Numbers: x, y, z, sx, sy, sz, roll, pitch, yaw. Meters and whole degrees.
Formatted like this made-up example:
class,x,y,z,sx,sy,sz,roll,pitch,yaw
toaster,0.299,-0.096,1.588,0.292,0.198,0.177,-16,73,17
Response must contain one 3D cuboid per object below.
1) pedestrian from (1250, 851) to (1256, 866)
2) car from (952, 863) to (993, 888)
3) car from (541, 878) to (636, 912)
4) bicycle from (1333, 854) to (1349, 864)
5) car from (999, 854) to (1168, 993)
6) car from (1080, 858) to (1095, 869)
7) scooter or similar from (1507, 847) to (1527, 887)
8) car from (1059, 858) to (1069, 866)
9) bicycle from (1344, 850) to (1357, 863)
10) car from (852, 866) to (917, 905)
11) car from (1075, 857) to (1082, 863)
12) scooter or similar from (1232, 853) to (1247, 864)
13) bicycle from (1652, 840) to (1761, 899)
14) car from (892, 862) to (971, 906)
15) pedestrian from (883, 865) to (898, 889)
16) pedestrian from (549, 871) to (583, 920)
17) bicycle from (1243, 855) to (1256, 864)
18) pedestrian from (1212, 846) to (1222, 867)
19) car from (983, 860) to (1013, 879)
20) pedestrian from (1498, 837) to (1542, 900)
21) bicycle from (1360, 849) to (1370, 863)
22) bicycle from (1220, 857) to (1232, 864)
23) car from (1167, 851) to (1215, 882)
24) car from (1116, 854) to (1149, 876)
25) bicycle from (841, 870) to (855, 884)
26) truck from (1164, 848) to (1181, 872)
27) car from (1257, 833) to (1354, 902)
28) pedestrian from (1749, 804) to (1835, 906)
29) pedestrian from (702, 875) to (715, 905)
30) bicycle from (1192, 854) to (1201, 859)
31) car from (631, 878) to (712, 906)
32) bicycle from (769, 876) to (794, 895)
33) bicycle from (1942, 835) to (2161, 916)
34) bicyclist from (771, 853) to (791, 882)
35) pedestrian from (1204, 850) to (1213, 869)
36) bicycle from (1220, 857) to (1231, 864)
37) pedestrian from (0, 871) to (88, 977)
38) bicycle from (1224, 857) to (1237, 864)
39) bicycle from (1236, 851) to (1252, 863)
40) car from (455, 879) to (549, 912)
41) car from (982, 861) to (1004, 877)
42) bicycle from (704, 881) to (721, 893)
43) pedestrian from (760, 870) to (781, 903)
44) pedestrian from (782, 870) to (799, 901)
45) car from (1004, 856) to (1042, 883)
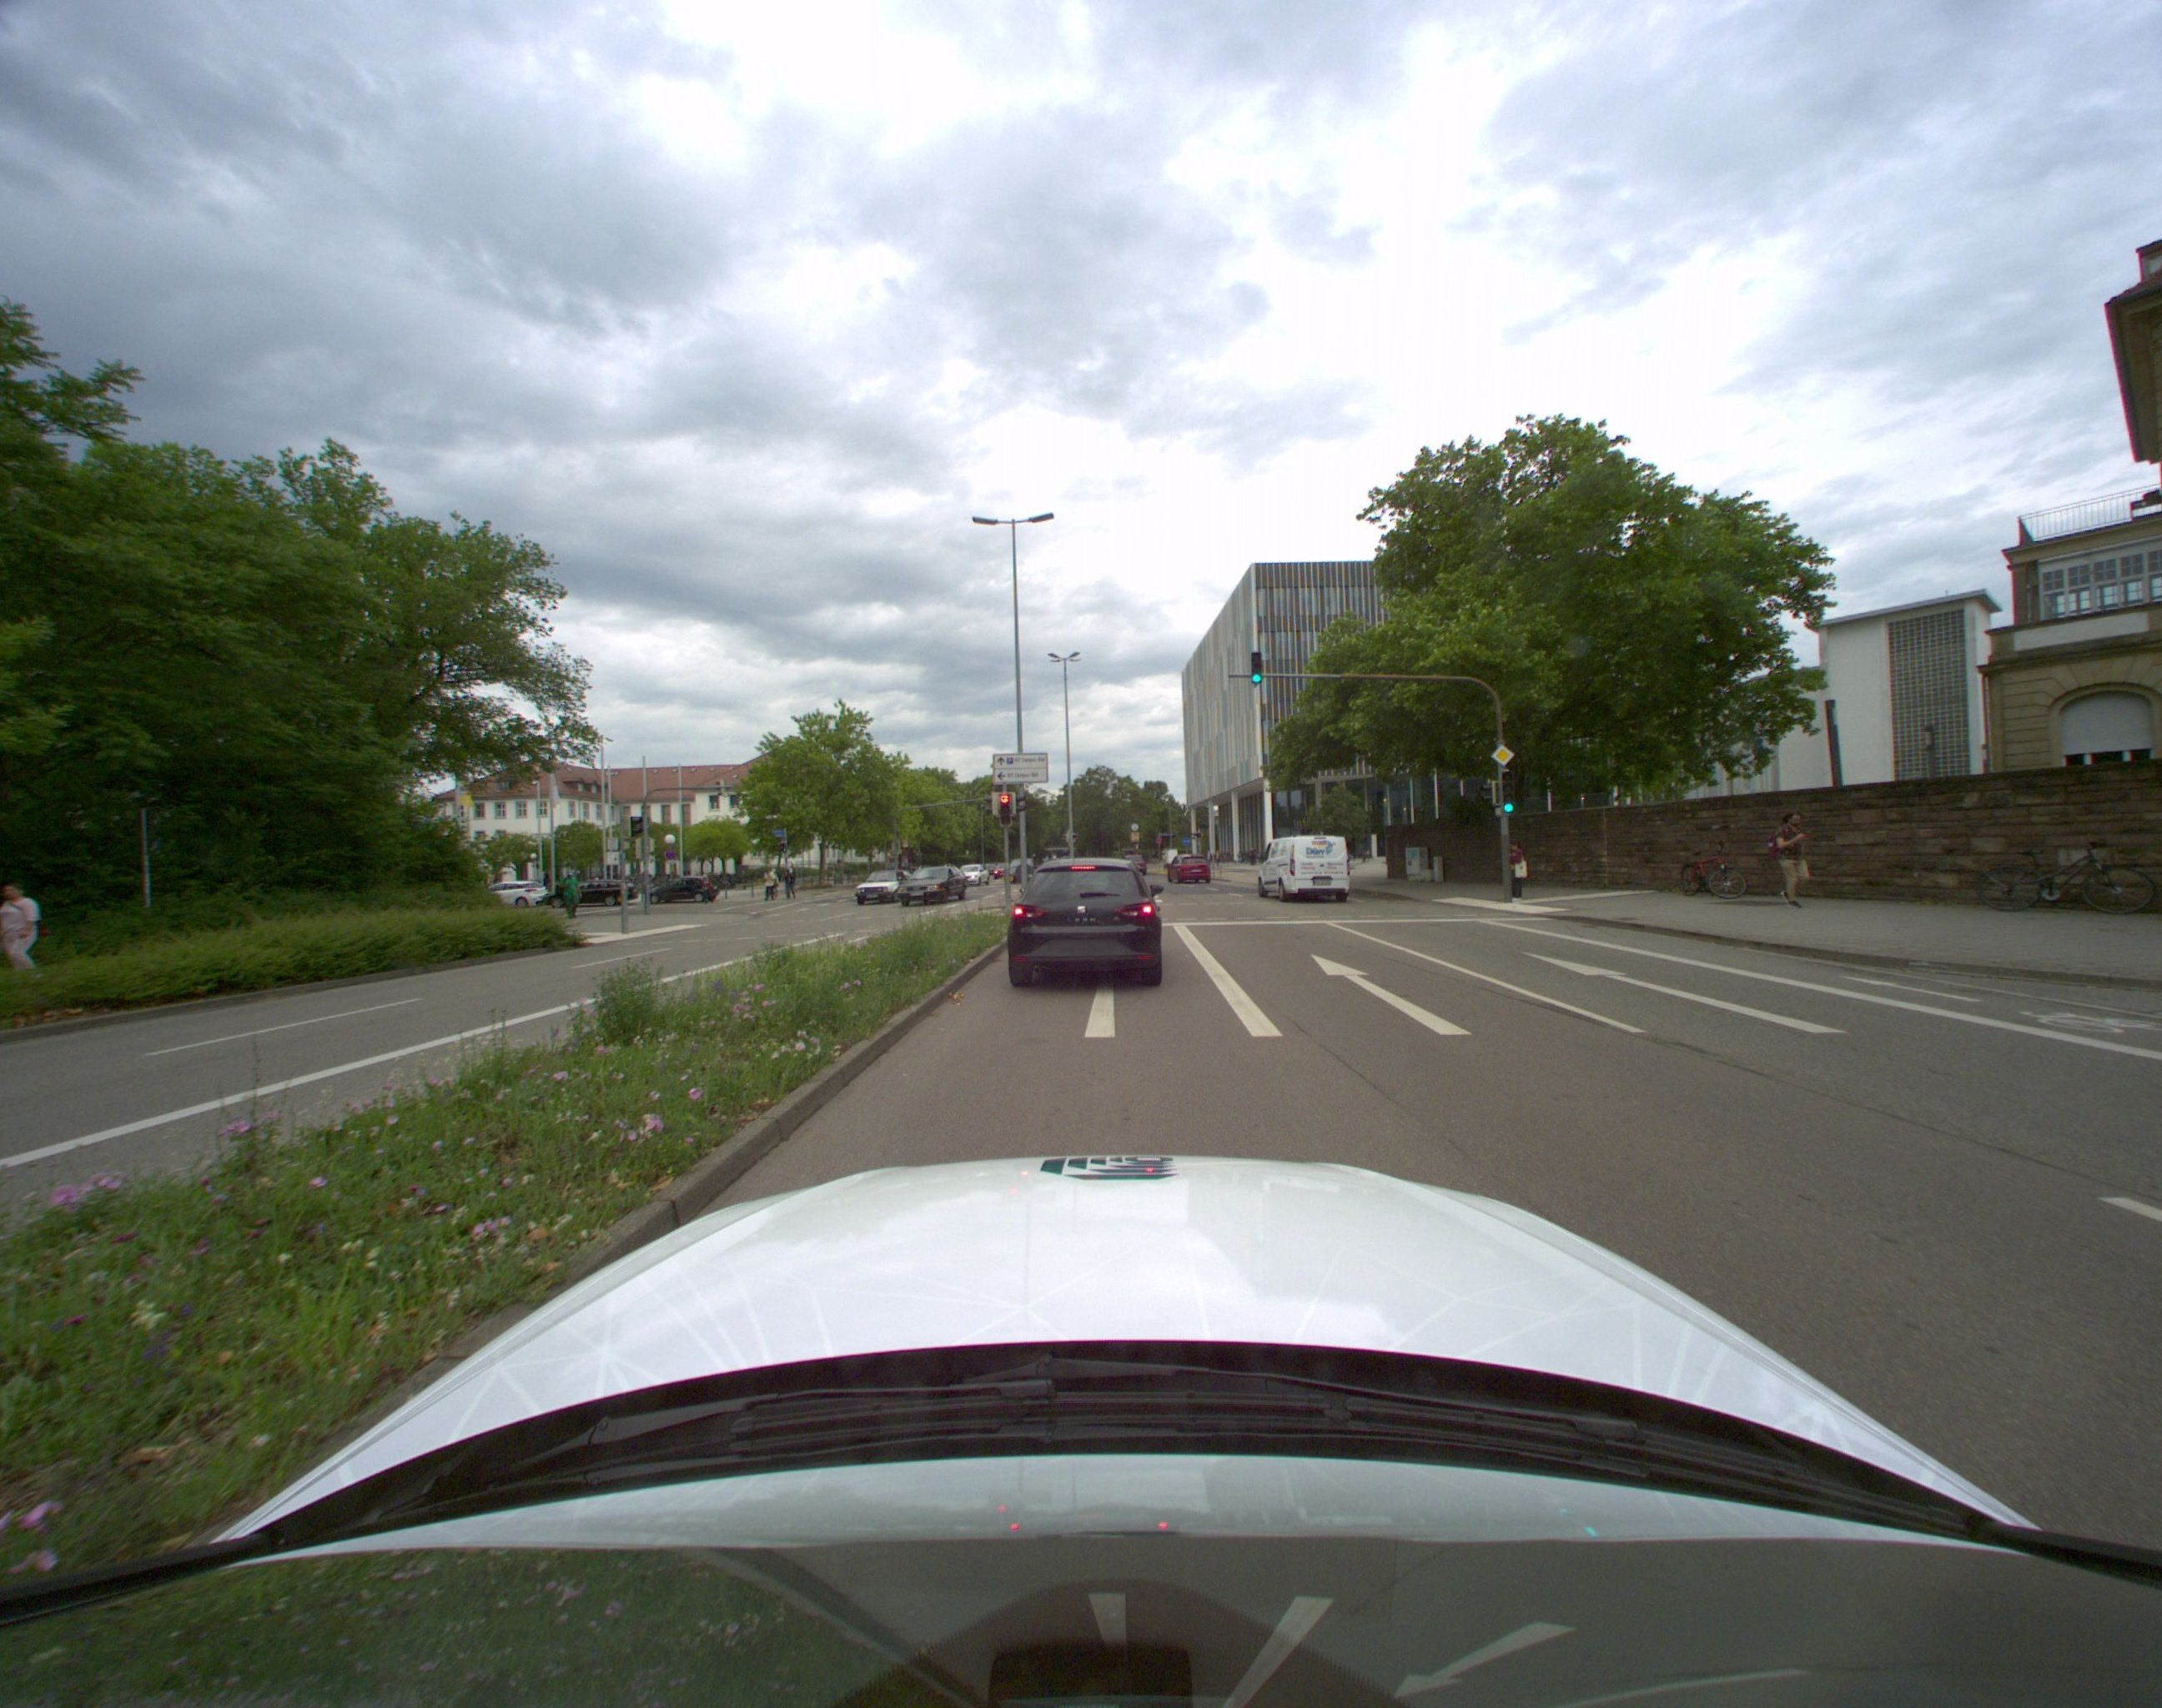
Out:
class,x,y,z,sx,sy,sz,roll,pitch,yaw
pedestrian,16.436,0.426,77.828,0.469,1.361,0.447,-3,0,12
car,-7.258,1.412,54.875,1.696,1.431,4.234,-4,0,5
car,-27.006,2.225,44.804,4.058,1.452,1.615,-3,5,-16
bicycle,22.207,0.435,69.541,1.535,0.716,0.513,-4,0,-41
car,0.180,0.732,10.391,1.745,1.432,3.774,-1,0,5
car,0.853,1.258,113.817,1.893,1.354,3.881,-4,0,-1
scooter or similar,13.650,0.392,25.492,0.428,1.179,1.714,-4,0,27
car,-3.507,1.672,168.121,1.692,1.503,4.004,-4,0,-4
bicycle,22.662,0.195,68.481,0.802,1.056,1.959,-3,0,22
car,-8.253,1.295,34.596,1.601,1.381,3.811,-4,0,3
car,-0.555,1.237,177.703,1.501,1.193,3.161,-4,0,-1
scooter or similar,17.008,0.470,87.410,1.681,1.106,0.494,-4,0,-30
bicycle,13.943,0.329,18.233,0.801,1.174,1.952,-5,0,-3
car,-5.689,1.121,31.639,1.756,1.460,4.796,-4,-1,4
pedestrian,-13.153,1.604,56.202,0.873,1.586,0.543,-3,0,-5
pedestrian,-19.114,1.527,30.232,0.948,1.759,0.865,0,-2,-42
bicycle,17.601,0.576,85.073,1.445,0.857,0.362,-4,0,-25
pedestrian,11.742,0.214,70.259,0.684,1.781,0.677,-2,0,2
car,-7.128,1.340,70.253,1.706,1.418,4.300,-3,0,5
pedestrian,11.486,0.366,21.334,0.657,1.561,0.636,-6,0,2
bicycle,23.528,0.135,67.525,0.616,1.056,1.959,-4,0,22
bicycle,16.930,0.786,95.100,1.365,0.705,0.490,-4,0,10
car,6.189,0.682,46.016,1.946,1.624,3.743,-1,0,-4
car,4.243,0.911,67.795,1.914,1.664,4.102,-4,0,-9
bicycle,-20.005,1.954,69.935,0.606,1.060,2.041,-3,0,-4
truck,9.071,0.538,80.733,1.312,2.243,3.403,-3,0,2
car,6.944,0.383,25.636,1.959,1.972,4.345,0,0,1
pedestrian,13.364,0.024,15.339,0.628,1.821,1.033,-3,0,2
pedestrian,-19.743,1.916,43.171,0.572,1.527,0.842,-2,-5,-21
bicycle,16.480,0.366,116.022,1.239,0.823,0.479,0,-1,-20
car,-22.939,2.136,45.699,3.648,1.223,1.562,-2,7,-4
bicycle,-17.003,1.794,46.186,1.598,1.062,0.672,-2,-2,42
bicycle,14.802,0.310,12.478,0.941,1.073,1.961,-4,0,-13
bicyclist,-17.013,0.762,46.211,0.949,1.635,0.672,-2,-2,42
pedestrian,10.992,0.442,70.177,0.684,1.640,0.633,-1,0,2
bicycle,17.016,0.764,95.990,1.232,0.705,0.490,-4,0,10
pedestrian,-17.105,1.130,13.364,0.697,1.636,0.672,-3,0,2
bicycle,17.115,0.741,93.294,1.368,0.705,0.417,-4,0,5
bicycle,17.386,0.332,86.819,1.784,1.211,0.564,-4,0,-32
car,-32.230,2.320,45.404,3.867,1.539,1.685,-2,2,-1
car,-10.377,1.762,96.299,1.899,1.717,4.002,-4,0,2
bicycle,-29.893,2.661,66.016,1.210,0.880,0.262,-4,0,-21
pedestrian,-16.749,1.749,43.946,0.846,1.740,0.822,-1,-5,-33
pedestrian,-15.381,1.663,43.129,0.791,1.558,0.695,-2,-4,-18
car,-3.867,1.013,55.067,1.913,1.664,4.401,-4,-1,3
